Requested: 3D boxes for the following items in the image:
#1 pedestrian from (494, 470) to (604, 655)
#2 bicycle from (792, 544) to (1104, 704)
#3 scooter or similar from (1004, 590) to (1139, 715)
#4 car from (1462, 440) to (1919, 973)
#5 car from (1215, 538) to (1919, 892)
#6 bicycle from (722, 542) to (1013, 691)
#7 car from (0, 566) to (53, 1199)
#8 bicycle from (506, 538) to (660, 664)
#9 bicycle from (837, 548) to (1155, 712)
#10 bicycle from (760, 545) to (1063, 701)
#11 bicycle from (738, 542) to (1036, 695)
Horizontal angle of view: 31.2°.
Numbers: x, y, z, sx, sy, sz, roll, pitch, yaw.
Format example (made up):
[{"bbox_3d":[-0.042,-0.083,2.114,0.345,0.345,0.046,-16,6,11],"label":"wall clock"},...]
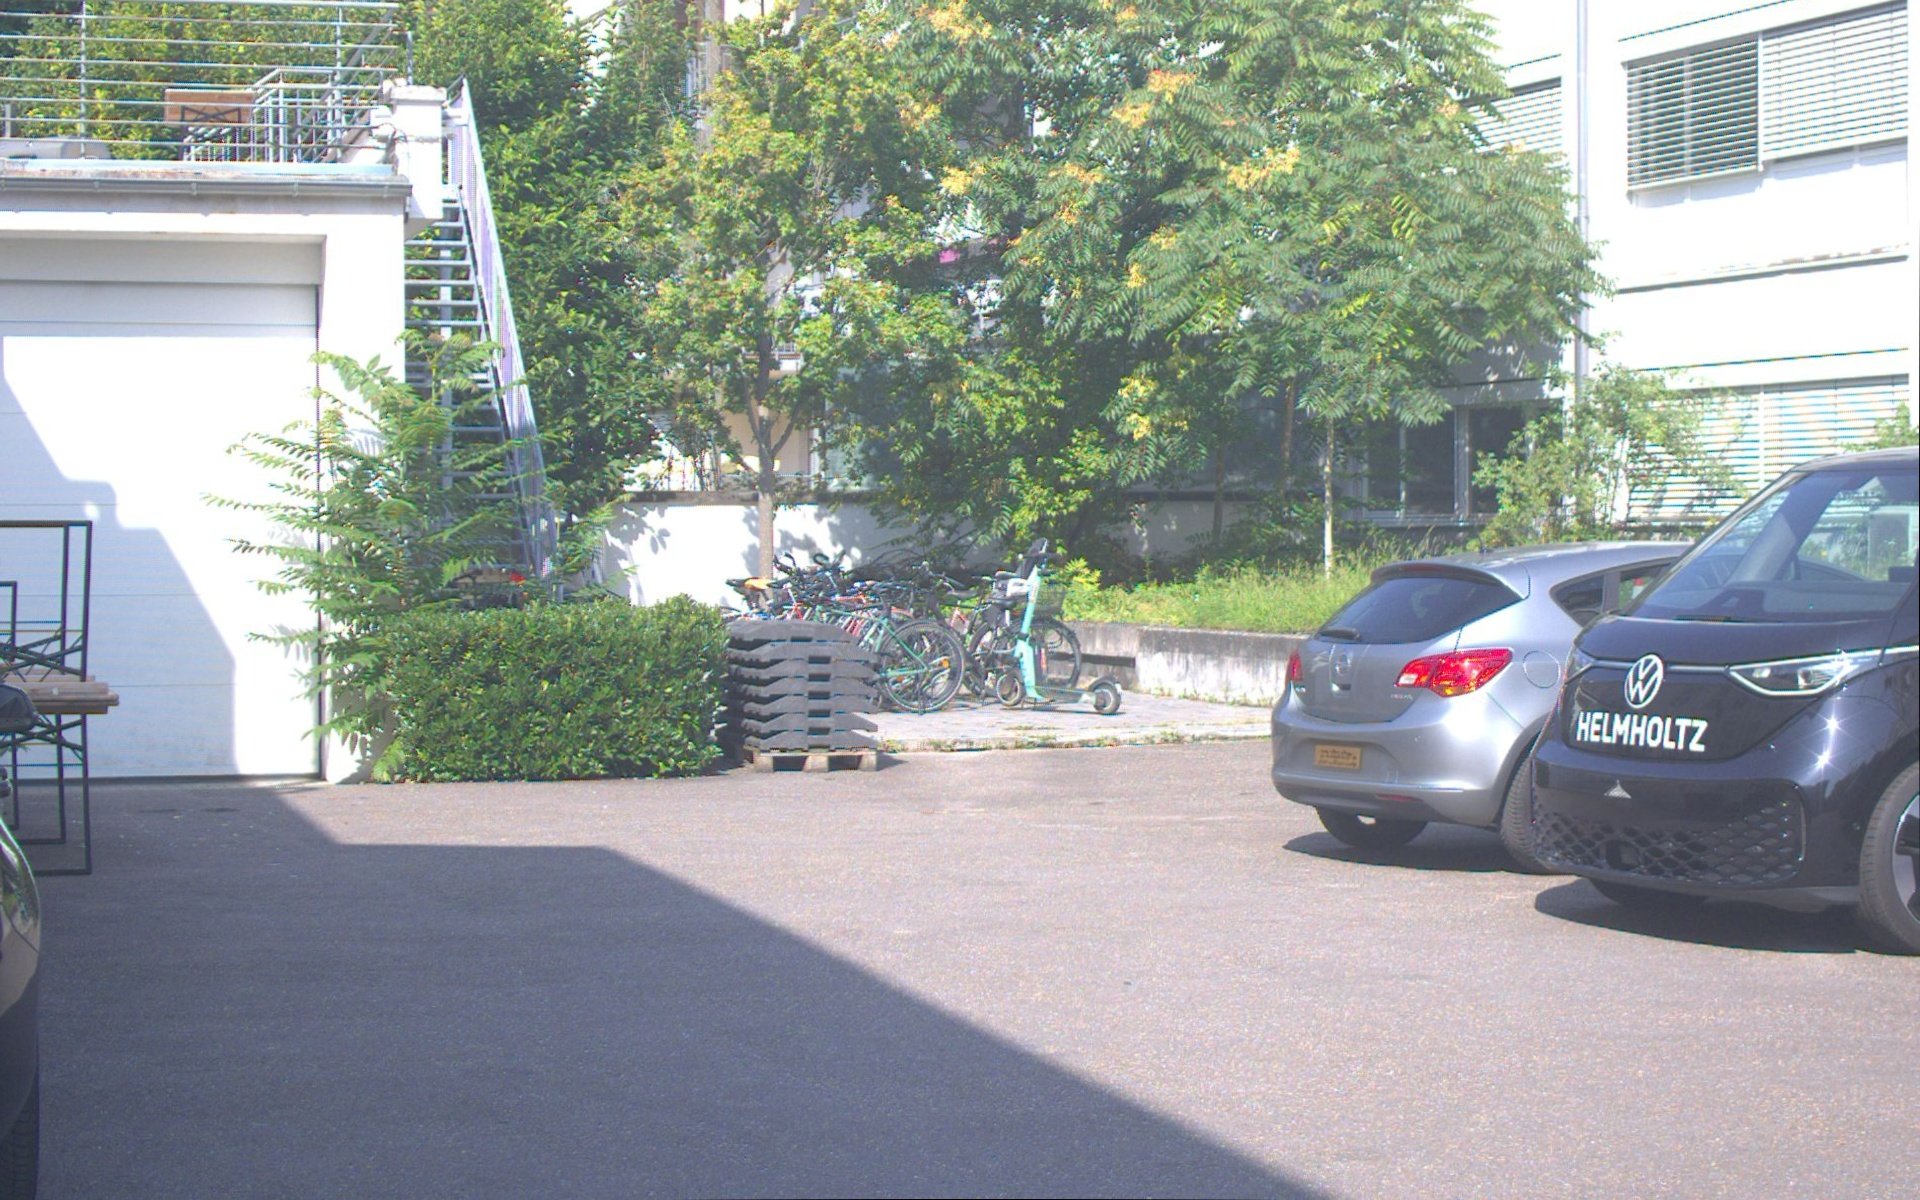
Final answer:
[{"bbox_3d":[-3.985,-0.367,33.362,0.859,1.765,0.610,1,1,26],"label":"pedestrian"},{"bbox_3d":[-0.093,0.190,27.293,2.410,1.242,0.526,0,1,-16],"label":"bicycle"},{"bbox_3d":[0.856,0.397,26.482,0.998,0.921,0.359,1,1,36],"label":"scooter or similar"},{"bbox_3d":[4.361,0.305,13.718,4.334,1.852,1.915,-1,2,-25],"label":"car"},{"bbox_3d":[3.314,0.463,16.453,3.896,1.461,1.663,-1,2,-29],"label":"car"},{"bbox_3d":[-0.786,0.138,29.309,2.410,1.242,0.526,0,1,-16],"label":"bicycle"},{"bbox_3d":[-3.299,0.619,8.432,1.792,1.423,4.138,0,1,-19],"label":"car"},{"bbox_3d":[-3.651,-0.011,33.457,0.489,1.139,1.991,0,3,26],"label":"bicycle"},{"bbox_3d":[0.283,0.231,26.705,2.410,1.242,0.526,0,1,-16],"label":"bicycle"},{"bbox_3d":[-0.392,0.183,28.059,2.410,1.242,0.526,0,1,-16],"label":"bicycle"},{"bbox_3d":[-0.606,0.153,28.678,2.410,1.242,0.526,0,1,-16],"label":"bicycle"}]
